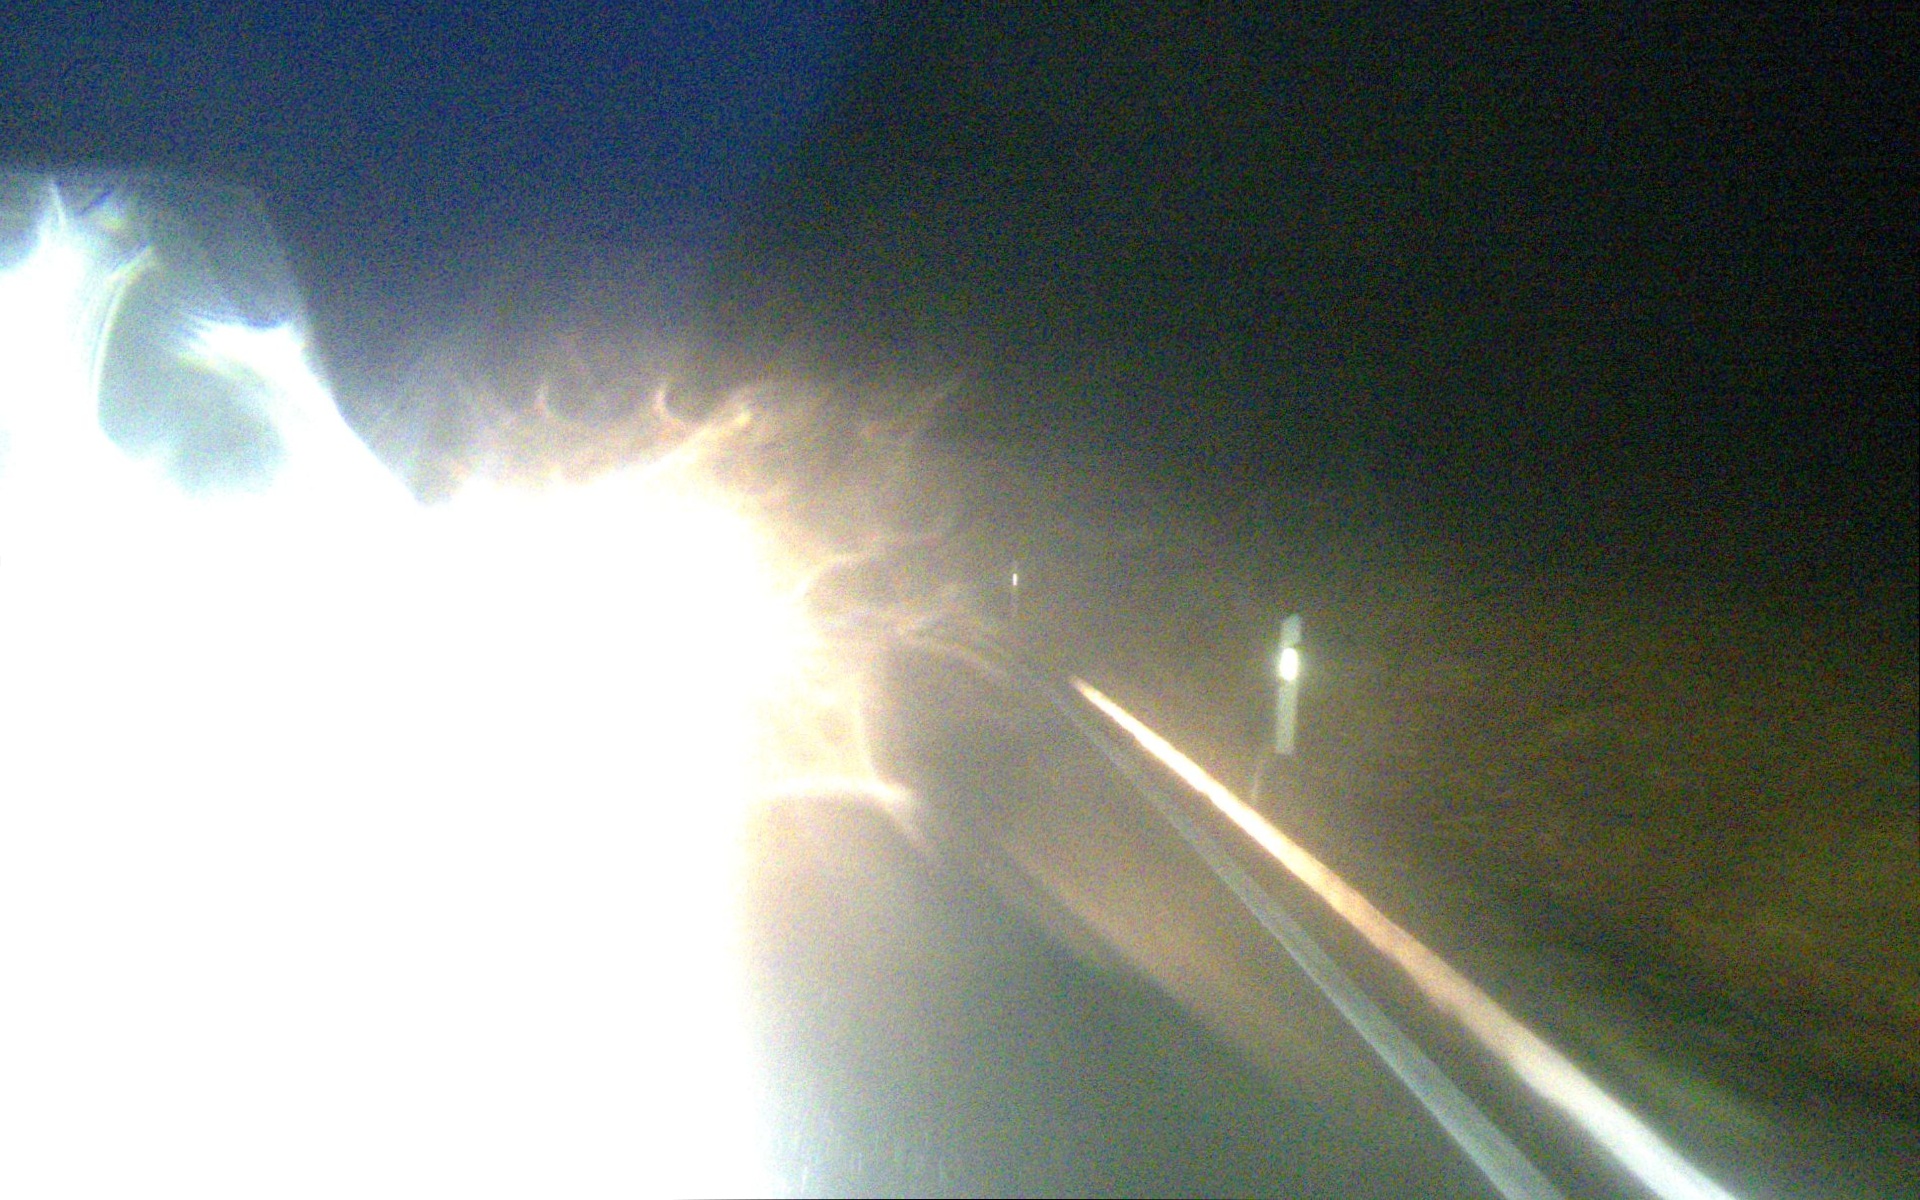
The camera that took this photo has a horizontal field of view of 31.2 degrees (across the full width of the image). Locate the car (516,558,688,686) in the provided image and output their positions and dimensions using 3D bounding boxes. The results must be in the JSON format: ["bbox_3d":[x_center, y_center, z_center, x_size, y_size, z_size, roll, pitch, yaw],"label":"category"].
[{"bbox_3d":[-4.646,0.244,45.153,1.855,1.516,4.681,1,1,-1],"label":"car"}]

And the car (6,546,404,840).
[{"bbox_3d":[-4.249,0.453,19.798,1.975,1.457,4.283,1,1,-10],"label":"car"}]
